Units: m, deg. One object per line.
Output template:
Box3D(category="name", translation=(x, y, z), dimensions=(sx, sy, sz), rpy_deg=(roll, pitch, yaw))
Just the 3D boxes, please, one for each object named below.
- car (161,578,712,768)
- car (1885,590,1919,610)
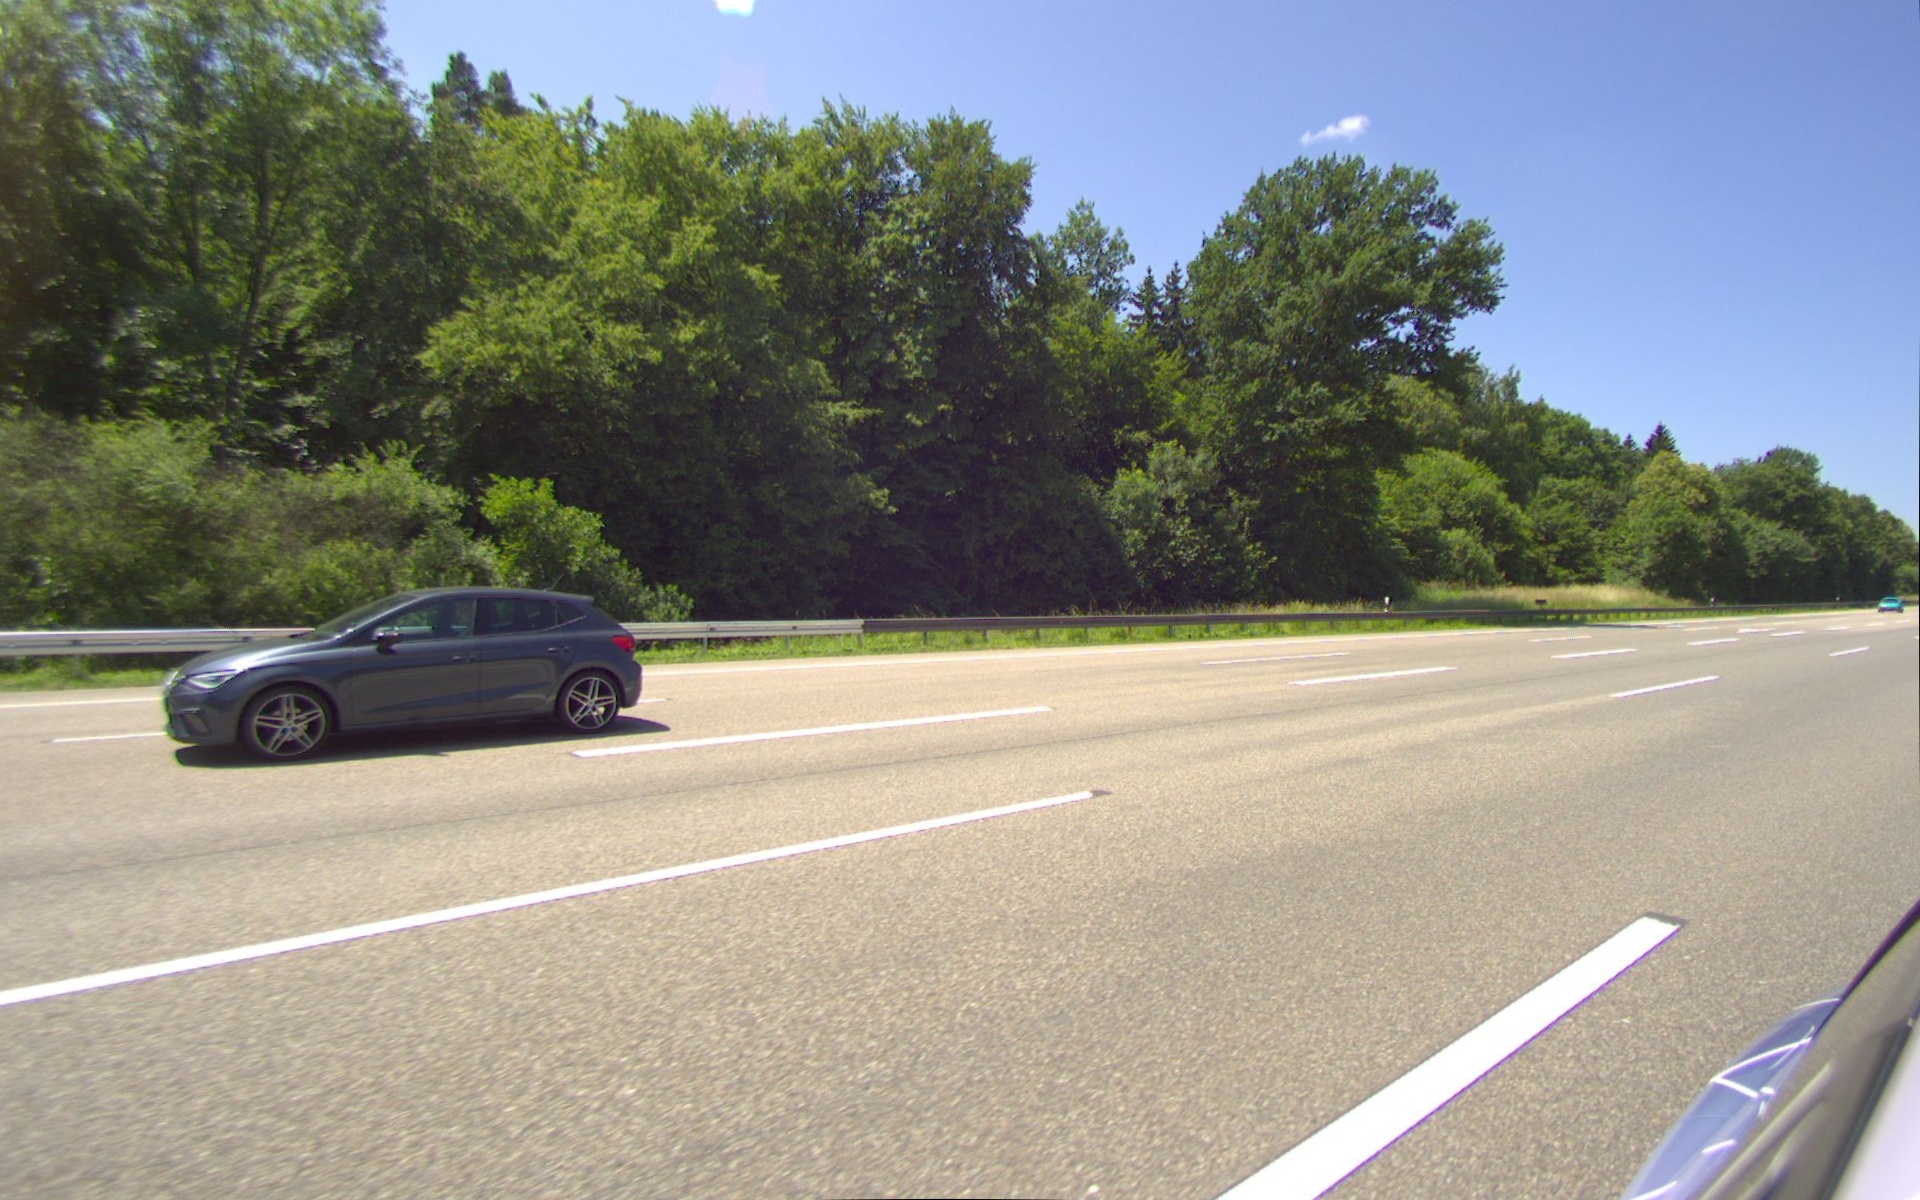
Box3D(category="car", translation=(-4.887, 0.561, 9.913), dimensions=(4.554, 1.457, 1.646), rpy_deg=(0, 0, -41))
Box3D(category="car", translation=(90.482, -0.017, 97.074), dimensions=(4.052, 1.701, 1.999), rpy_deg=(0, 3, -39))
